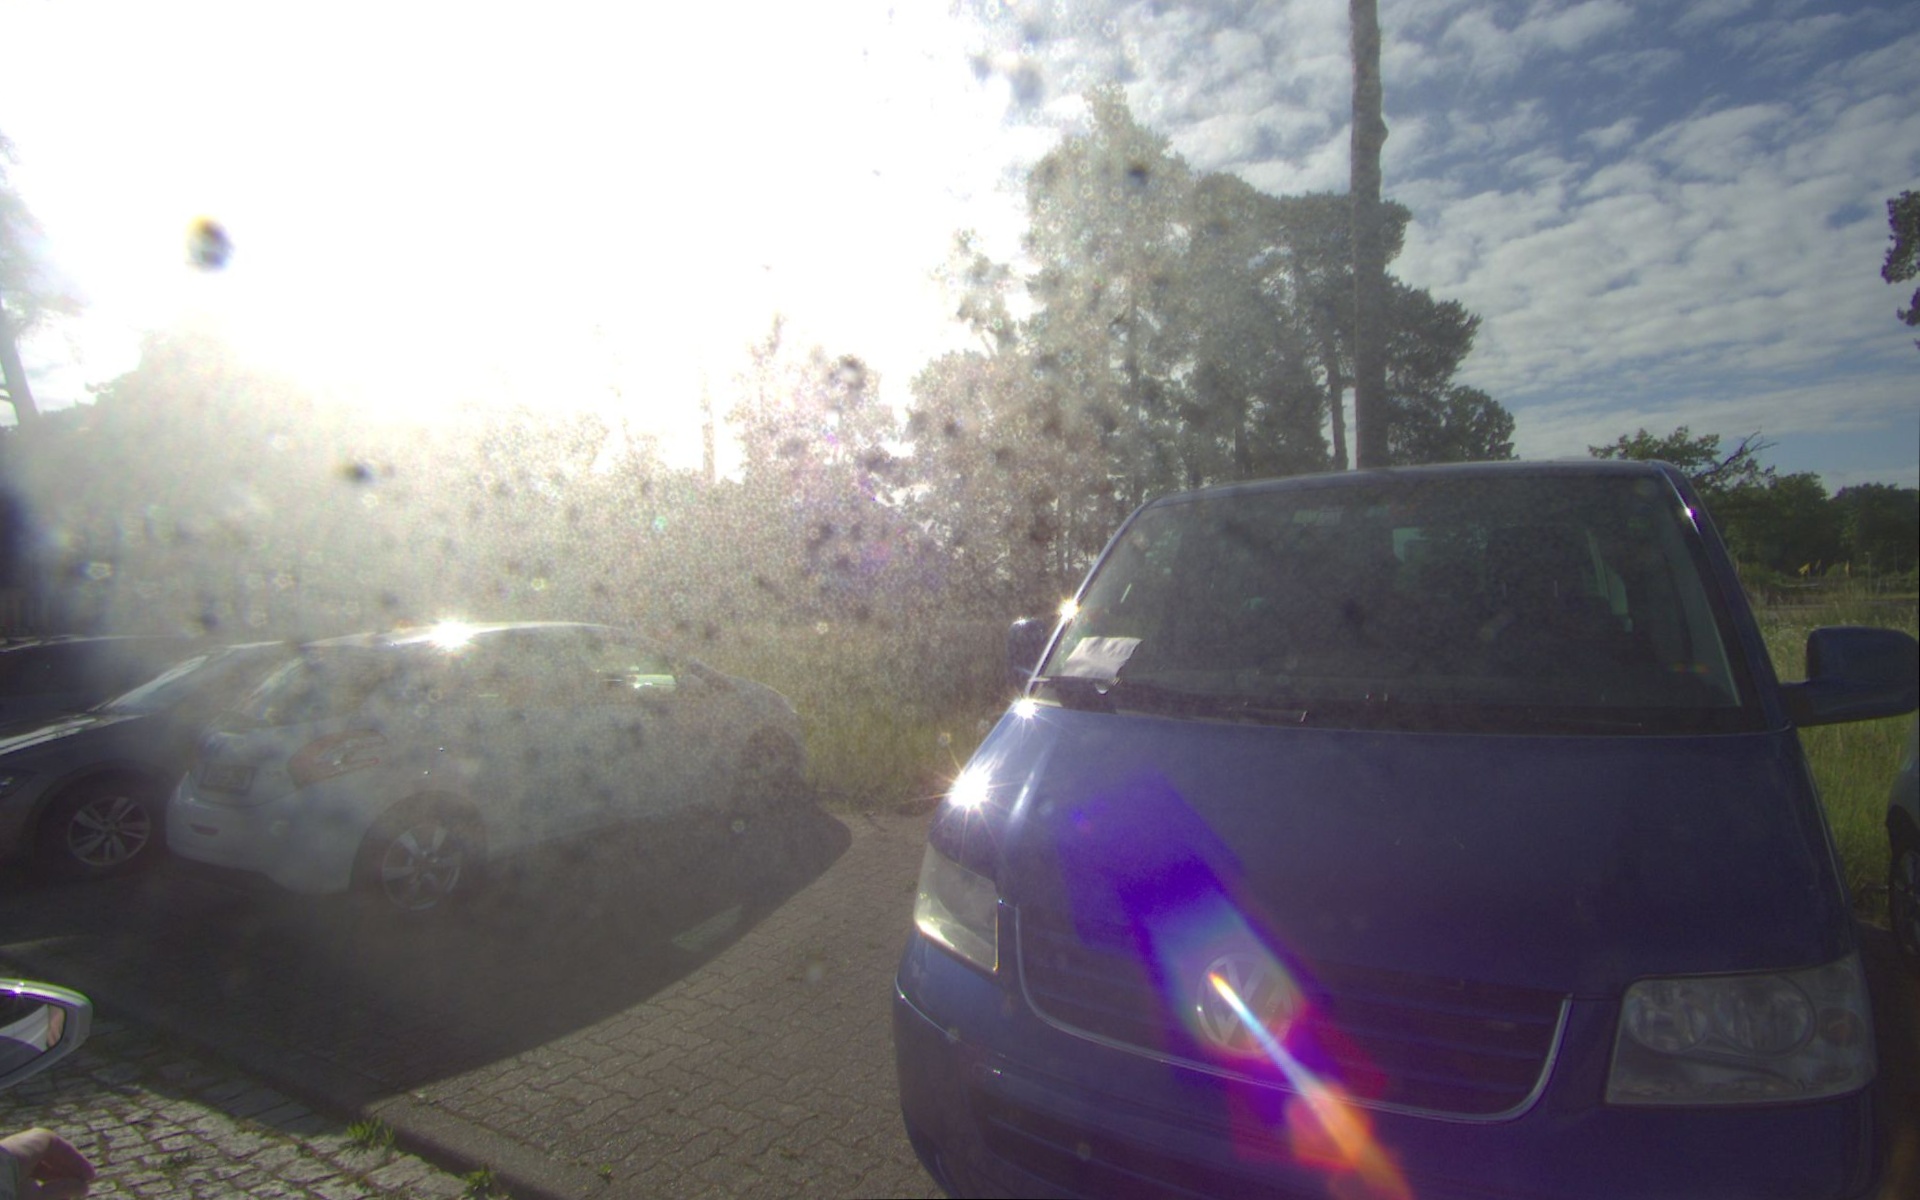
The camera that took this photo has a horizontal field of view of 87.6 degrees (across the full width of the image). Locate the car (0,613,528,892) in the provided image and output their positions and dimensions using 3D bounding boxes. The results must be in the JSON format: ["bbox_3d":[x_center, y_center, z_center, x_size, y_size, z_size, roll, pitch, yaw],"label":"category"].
[{"bbox_3d":[-5.484,0.912,7.526,1.829,1.468,3.699,-1,1,32],"label":"car"}]

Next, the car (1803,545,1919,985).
[{"bbox_3d":[4.120,0.585,2.852,1.911,1.598,4.388,-1,1,31],"label":"car"}]

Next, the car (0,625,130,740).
[{"bbox_3d":[-13.739,1.153,12.827,1.755,1.434,4.422,-1,1,32],"label":"car"}]

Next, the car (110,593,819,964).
[{"bbox_3d":[-2.782,0.788,6.435,1.736,1.555,3.699,-1,1,32],"label":"car"}]

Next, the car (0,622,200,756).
[{"bbox_3d":[-11.869,1.096,11.953,1.613,1.468,4.118,-1,1,32],"label":"car"}]

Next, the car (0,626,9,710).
[{"bbox_3d":[-18.126,1.234,16.037,1.613,1.434,3.873,-1,1,32],"label":"car"}]

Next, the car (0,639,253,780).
[{"bbox_3d":[-9.956,1.142,10.544,1.721,1.240,3.699,-1,1,32],"label":"car"}]

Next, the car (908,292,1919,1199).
[{"bbox_3d":[1.930,0.465,4.080,1.971,1.961,4.689,-1,1,31],"label":"car"}]

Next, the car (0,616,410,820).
[{"bbox_3d":[-7.580,0.967,9.525,1.790,1.468,3.699,-1,1,31],"label":"car"}]

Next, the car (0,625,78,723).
[{"bbox_3d":[-15.918,1.196,14.394,1.613,1.434,4.549,-1,1,31],"label":"car"}]
